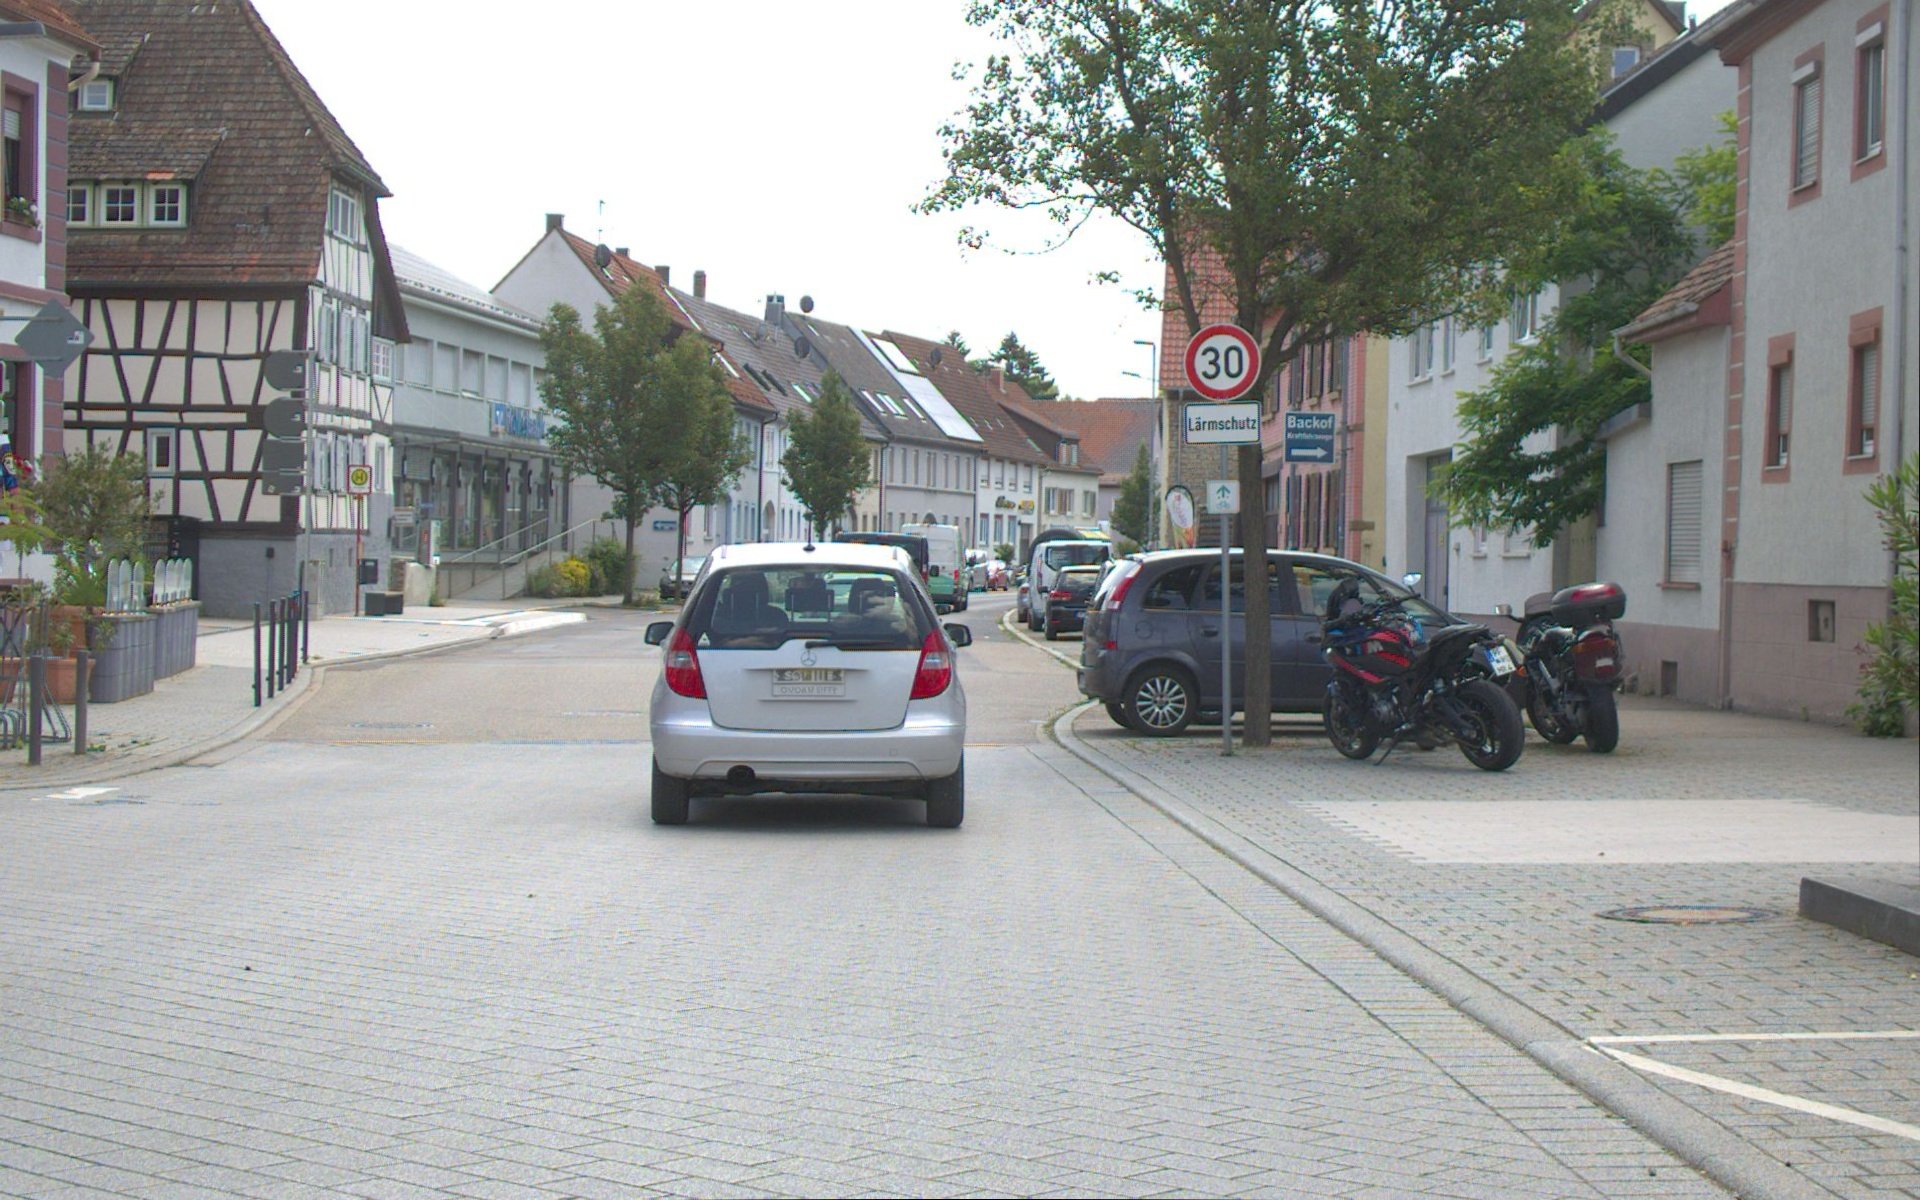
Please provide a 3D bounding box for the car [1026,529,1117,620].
[{"bbox_3d":[2.501,-0.598,77.970,1.892,1.975,4.931,-1,1,0],"label":"car"}]

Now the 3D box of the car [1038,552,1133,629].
[{"bbox_3d":[2.524,-0.218,69.924,1.774,1.490,4.162,1,1,0],"label":"car"}]

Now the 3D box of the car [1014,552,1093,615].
[{"bbox_3d":[2.348,-0.439,87.380,1.875,1.476,4.675,2,1,0],"label":"car"}]

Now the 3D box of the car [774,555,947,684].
[{"bbox_3d":[-1.151,0.194,41.149,1.945,1.402,4.000,1,1,0],"label":"car"}]

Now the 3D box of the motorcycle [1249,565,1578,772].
[{"bbox_3d":[3.232,0.462,24.655,2.224,1.390,0.870,2,1,43],"label":"motorcycle"}]

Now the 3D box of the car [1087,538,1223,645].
[{"bbox_3d":[3.178,-0.166,56.783,1.993,1.675,4.323,1,1,0],"label":"car"}]

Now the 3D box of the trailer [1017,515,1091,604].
[{"bbox_3d":[2.522,-1.100,92.590,1.845,2.346,3.590,1,1,0],"label":"trailer"}]

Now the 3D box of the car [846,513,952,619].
[{"bbox_3d":[-1.147,-0.655,66.749,1.769,1.881,4.447,4,0,1],"label":"car"}]

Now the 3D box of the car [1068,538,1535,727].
[{"bbox_3d":[2.960,0.263,30.372,3.848,1.572,1.851,-1,1,-3],"label":"car"}]

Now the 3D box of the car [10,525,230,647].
[{"bbox_3d":[-11.698,-0.216,48.170,1.758,1.487,4.275,5,1,3],"label":"car"}]

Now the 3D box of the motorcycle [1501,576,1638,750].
[{"bbox_3d":[4.766,0.470,27.014,0.959,1.294,2.225,-1,1,8],"label":"motorcycle"}]

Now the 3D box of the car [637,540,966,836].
[{"bbox_3d":[-0.937,0.439,20.505,1.769,1.589,4.001,0,1,-2],"label":"car"}]

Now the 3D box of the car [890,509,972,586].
[{"bbox_3d":[-0.837,-1.545,102.119,2.236,2.215,4.000,0,0,2],"label":"car"}]

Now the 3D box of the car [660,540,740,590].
[{"bbox_3d":[-7.964,-1.088,105.559,1.804,1.455,4.157,2,1,4],"label":"car"}]
